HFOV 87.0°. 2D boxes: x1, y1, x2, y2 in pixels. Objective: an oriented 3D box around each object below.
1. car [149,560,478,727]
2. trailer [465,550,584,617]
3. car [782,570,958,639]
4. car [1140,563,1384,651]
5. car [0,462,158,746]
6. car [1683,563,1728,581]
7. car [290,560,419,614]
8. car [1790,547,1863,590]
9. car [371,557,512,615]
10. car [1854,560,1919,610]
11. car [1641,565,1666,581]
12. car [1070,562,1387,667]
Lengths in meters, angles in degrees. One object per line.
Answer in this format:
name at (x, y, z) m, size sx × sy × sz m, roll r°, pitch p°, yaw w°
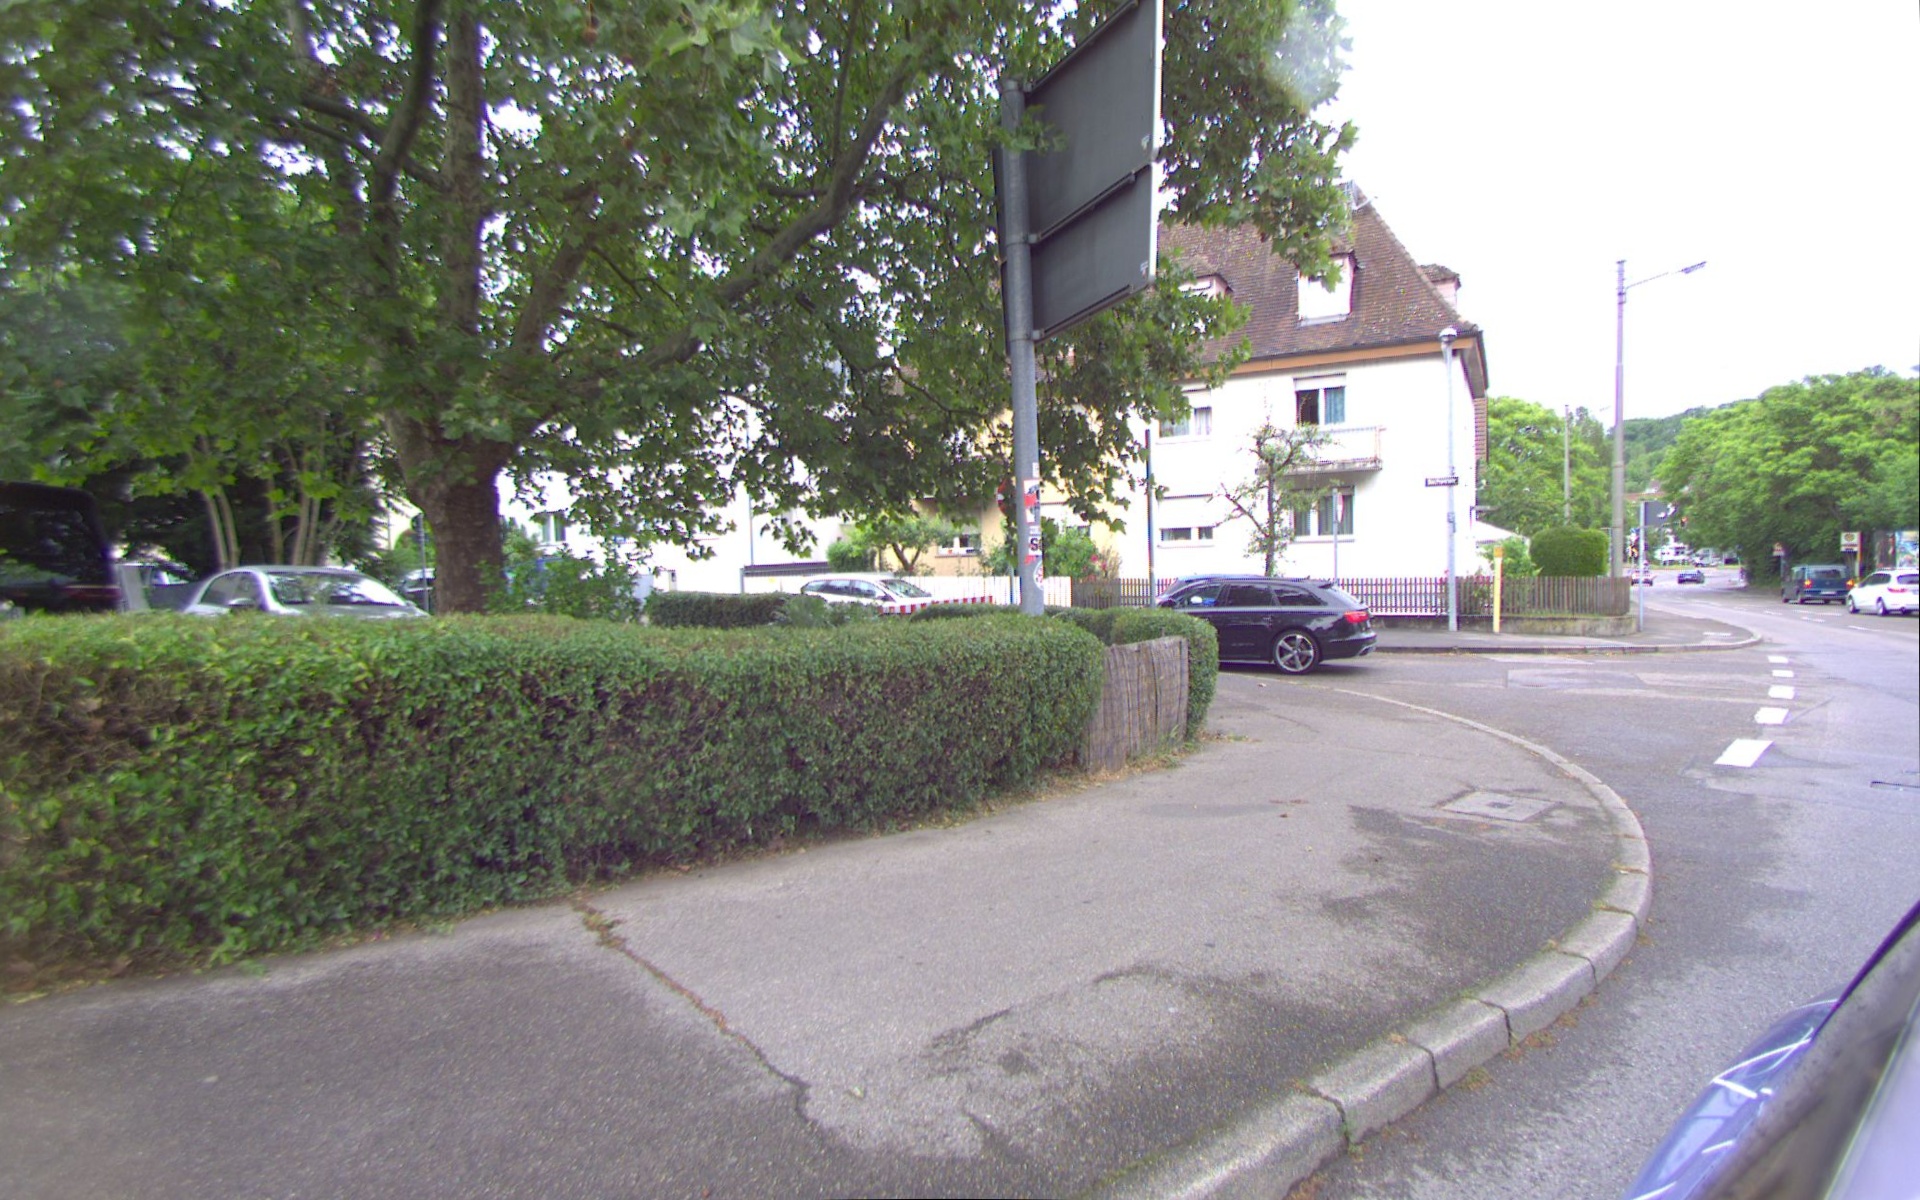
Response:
car at (-7.458, 0.364, 11.573) m, size 3.974 × 1.599 × 1.800 m, roll 1°, pitch 2°, yaw 35°
trailer at (-13.937, -0.551, 32.366) m, size 3.456 × 2.038 × 1.657 m, roll 1°, pitch 1°, yaw 26°
car at (-2.094, 0.058, 23.394) m, size 3.752 × 1.471 × 1.754 m, roll 1°, pitch 1°, yaw 30°
car at (5.676, 0.053, 19.144) m, size 4.095 × 1.498 × 1.865 m, roll 1°, pitch 2°, yaw 32°
car at (-8.549, 0.003, 7.977) m, size 4.376 × 1.956 × 1.980 m, roll 1°, pitch 2°, yaw 29°
car at (76.862, -2.875, 104.300) m, size 4.683 × 1.461 × 2.001 m, roll -5°, pitch 2°, yaw -31°
car at (-22.088, -0.504, 36.888) m, size 4.535 × 1.862 × 1.982 m, roll 1°, pitch 2°, yaw 28°
car at (41.519, -1.492, 48.570) m, size 1.949 × 1.955 × 4.631 m, roll 1°, pitch 2°, yaw 32°
car at (-17.519, -0.492, 34.173) m, size 4.535 × 1.862 × 1.982 m, roll 1°, pitch 2°, yaw 28°
car at (33.767, -0.576, 35.941) m, size 1.817 × 1.598 × 4.300 m, roll 0°, pitch 3°, yaw 24°
car at (66.055, -2.627, 96.474) m, size 1.888 × 1.479 × 3.953 m, roll 1°, pitch 2°, yaw 33°
car at (4.360, 0.148, 16.540) m, size 4.768 × 1.498 × 1.870 m, roll 1°, pitch 2°, yaw 25°
